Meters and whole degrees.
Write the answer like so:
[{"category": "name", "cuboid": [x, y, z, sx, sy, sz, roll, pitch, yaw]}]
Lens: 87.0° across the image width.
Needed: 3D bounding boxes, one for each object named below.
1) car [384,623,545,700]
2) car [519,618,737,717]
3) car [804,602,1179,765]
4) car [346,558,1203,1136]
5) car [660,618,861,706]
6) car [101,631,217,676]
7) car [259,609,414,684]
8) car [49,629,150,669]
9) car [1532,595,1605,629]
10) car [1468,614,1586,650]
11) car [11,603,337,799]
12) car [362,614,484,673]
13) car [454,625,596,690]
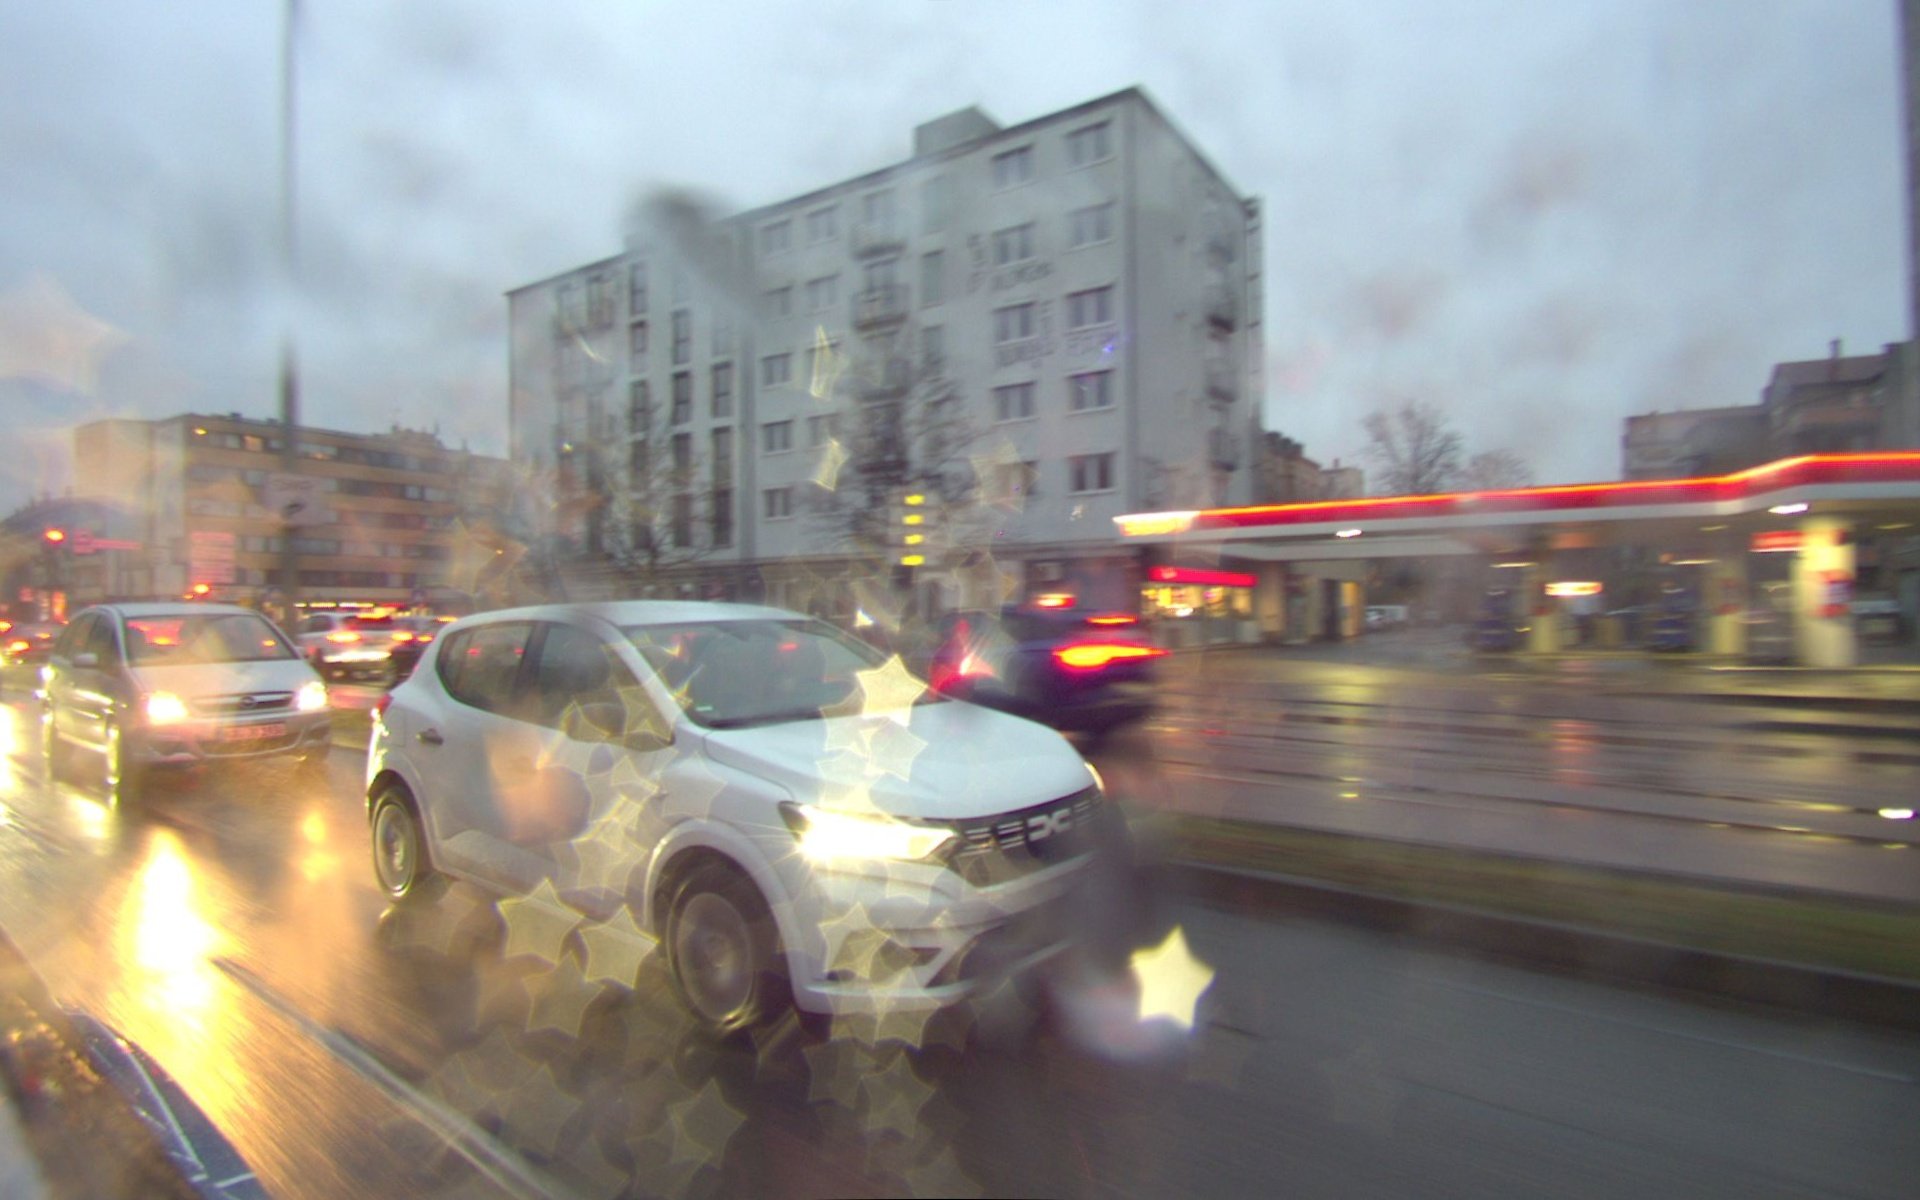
[{"category": "car", "cuboid": [-10.740, 1.277, 21.836, 3.996, 1.498, 1.629, -2, -2, 40]}, {"category": "car", "cuboid": [-5.785, 1.100, 17.421, 4.140, 1.498, 1.629, -2, -2, 40]}, {"category": "car", "cuboid": [0.204, 0.917, 12.390, 4.658, 1.643, 1.627, -2, -2, 42]}, {"category": "car", "cuboid": [-1.116, 0.702, 4.549, 3.996, 1.498, 1.610, -2, -2, 40]}, {"category": "car", "cuboid": [-4.058, 1.192, 20.219, 4.276, 1.579, 1.629, -2, -2, 40]}, {"category": "car", "cuboid": [-26.756, 1.752, 33.775, 4.525, 1.397, 1.944, -2, -2, 37]}, {"category": "car", "cuboid": [-16.337, 1.196, 26.438, 4.526, 1.796, 1.944, -2, -2, 37]}, {"category": "car", "cuboid": [-32.251, 1.818, 37.901, 4.525, 1.397, 1.944, -2, -2, 37]}, {"category": "car", "cuboid": [40.042, 0.795, 66.583, 3.990, 2.129, 1.977, -1, -1, 34]}, {"category": "car", "cuboid": [22.910, 1.277, 40.910, 3.990, 1.391, 1.939, -1, -1, 35]}, {"category": "car", "cuboid": [-7.860, 0.841, 9.988, 4.104, 1.560, 1.629, -1, -1, 39]}, {"category": "car", "cuboid": [-15.510, 1.200, 29.176, 3.798, 1.593, 1.772, -1, -1, 39]}, {"category": "car", "cuboid": [-10.896, 1.394, 25.256, 3.996, 1.498, 1.629, -2, -2, 40]}]
